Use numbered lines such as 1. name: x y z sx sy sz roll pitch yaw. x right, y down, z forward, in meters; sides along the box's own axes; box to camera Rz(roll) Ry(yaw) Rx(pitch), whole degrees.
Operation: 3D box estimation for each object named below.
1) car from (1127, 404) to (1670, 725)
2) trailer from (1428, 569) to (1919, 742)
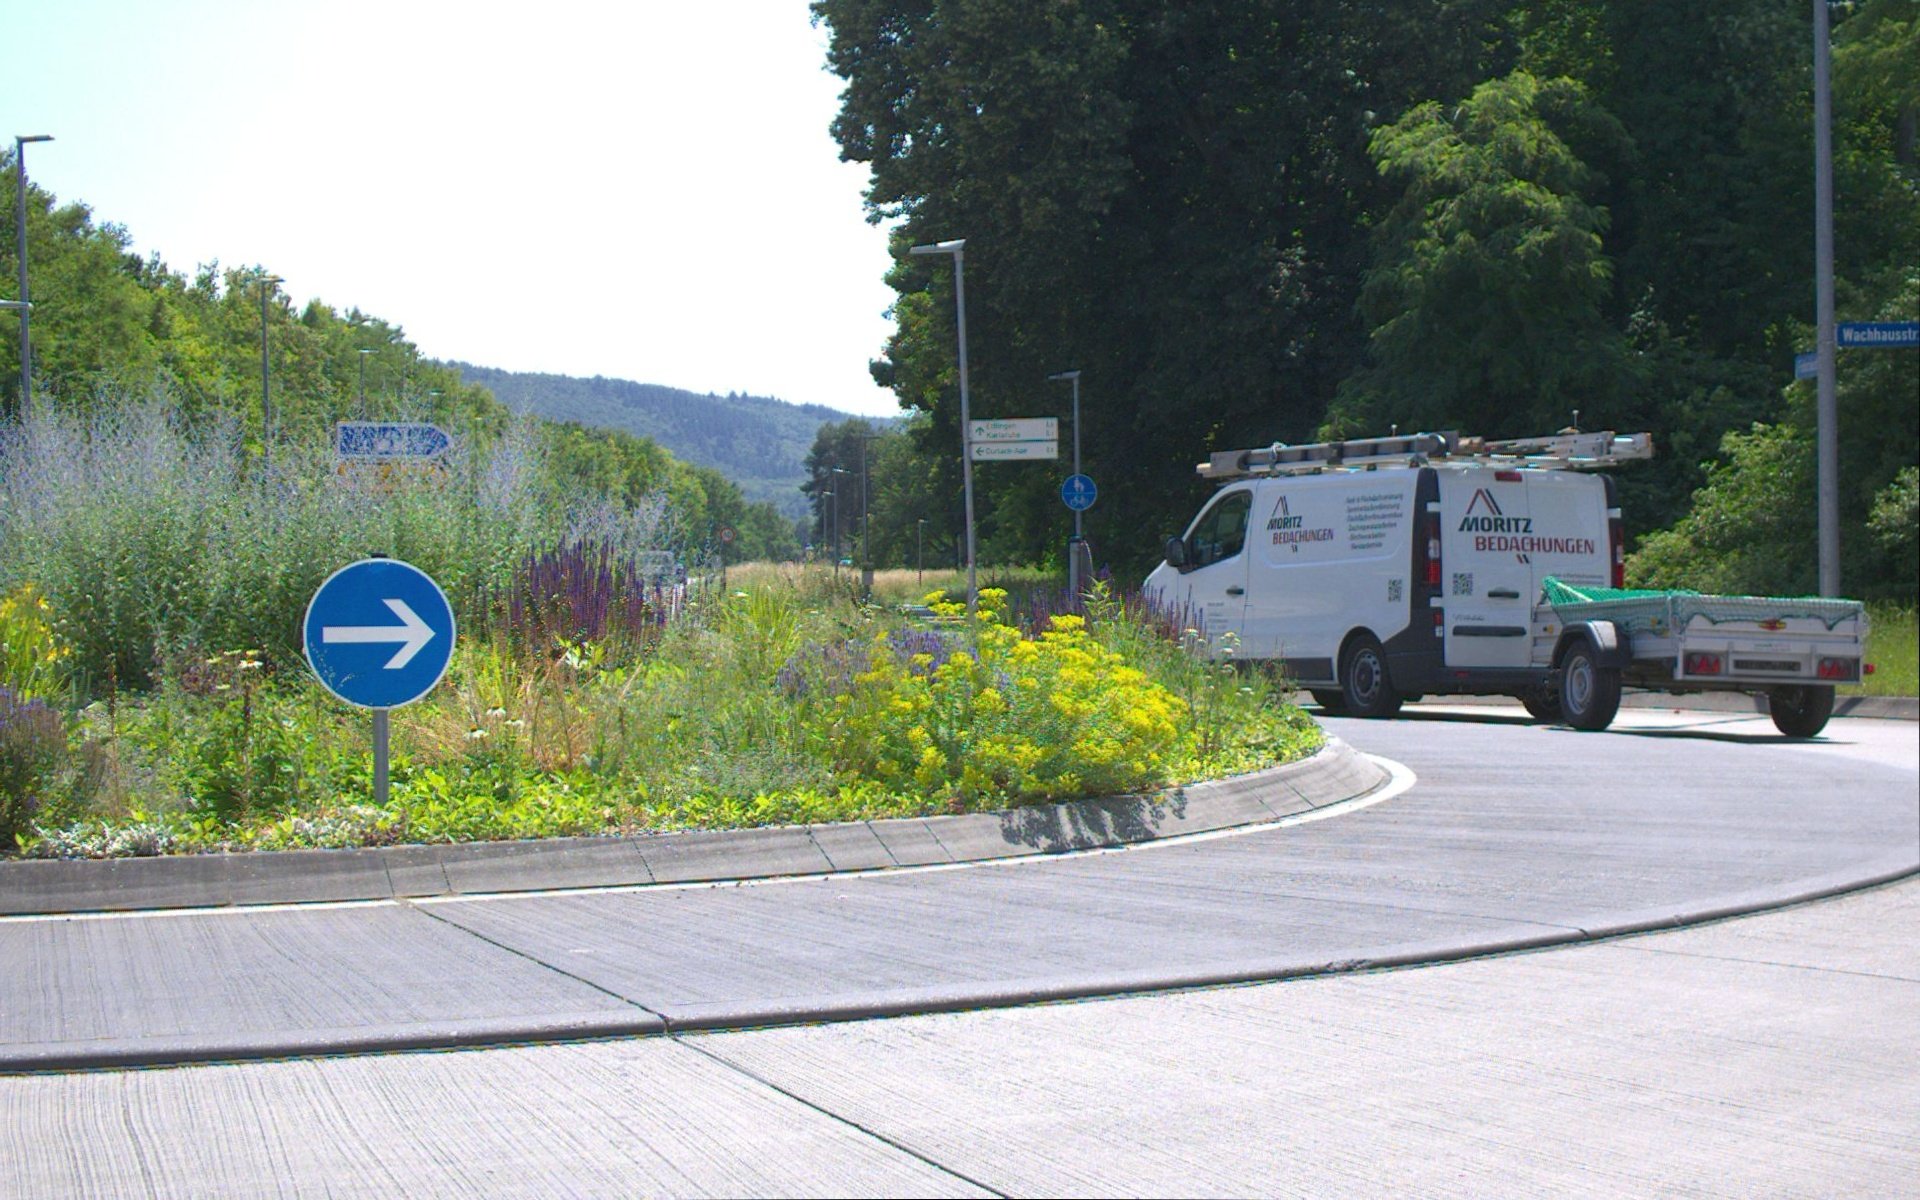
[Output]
1. car: 3.347 -0.275 27.441 2.165 2.308 4.982 0 0 -22
2. trailer: 4.943 0.336 23.603 2.121 1.093 3.355 0 0 -20
